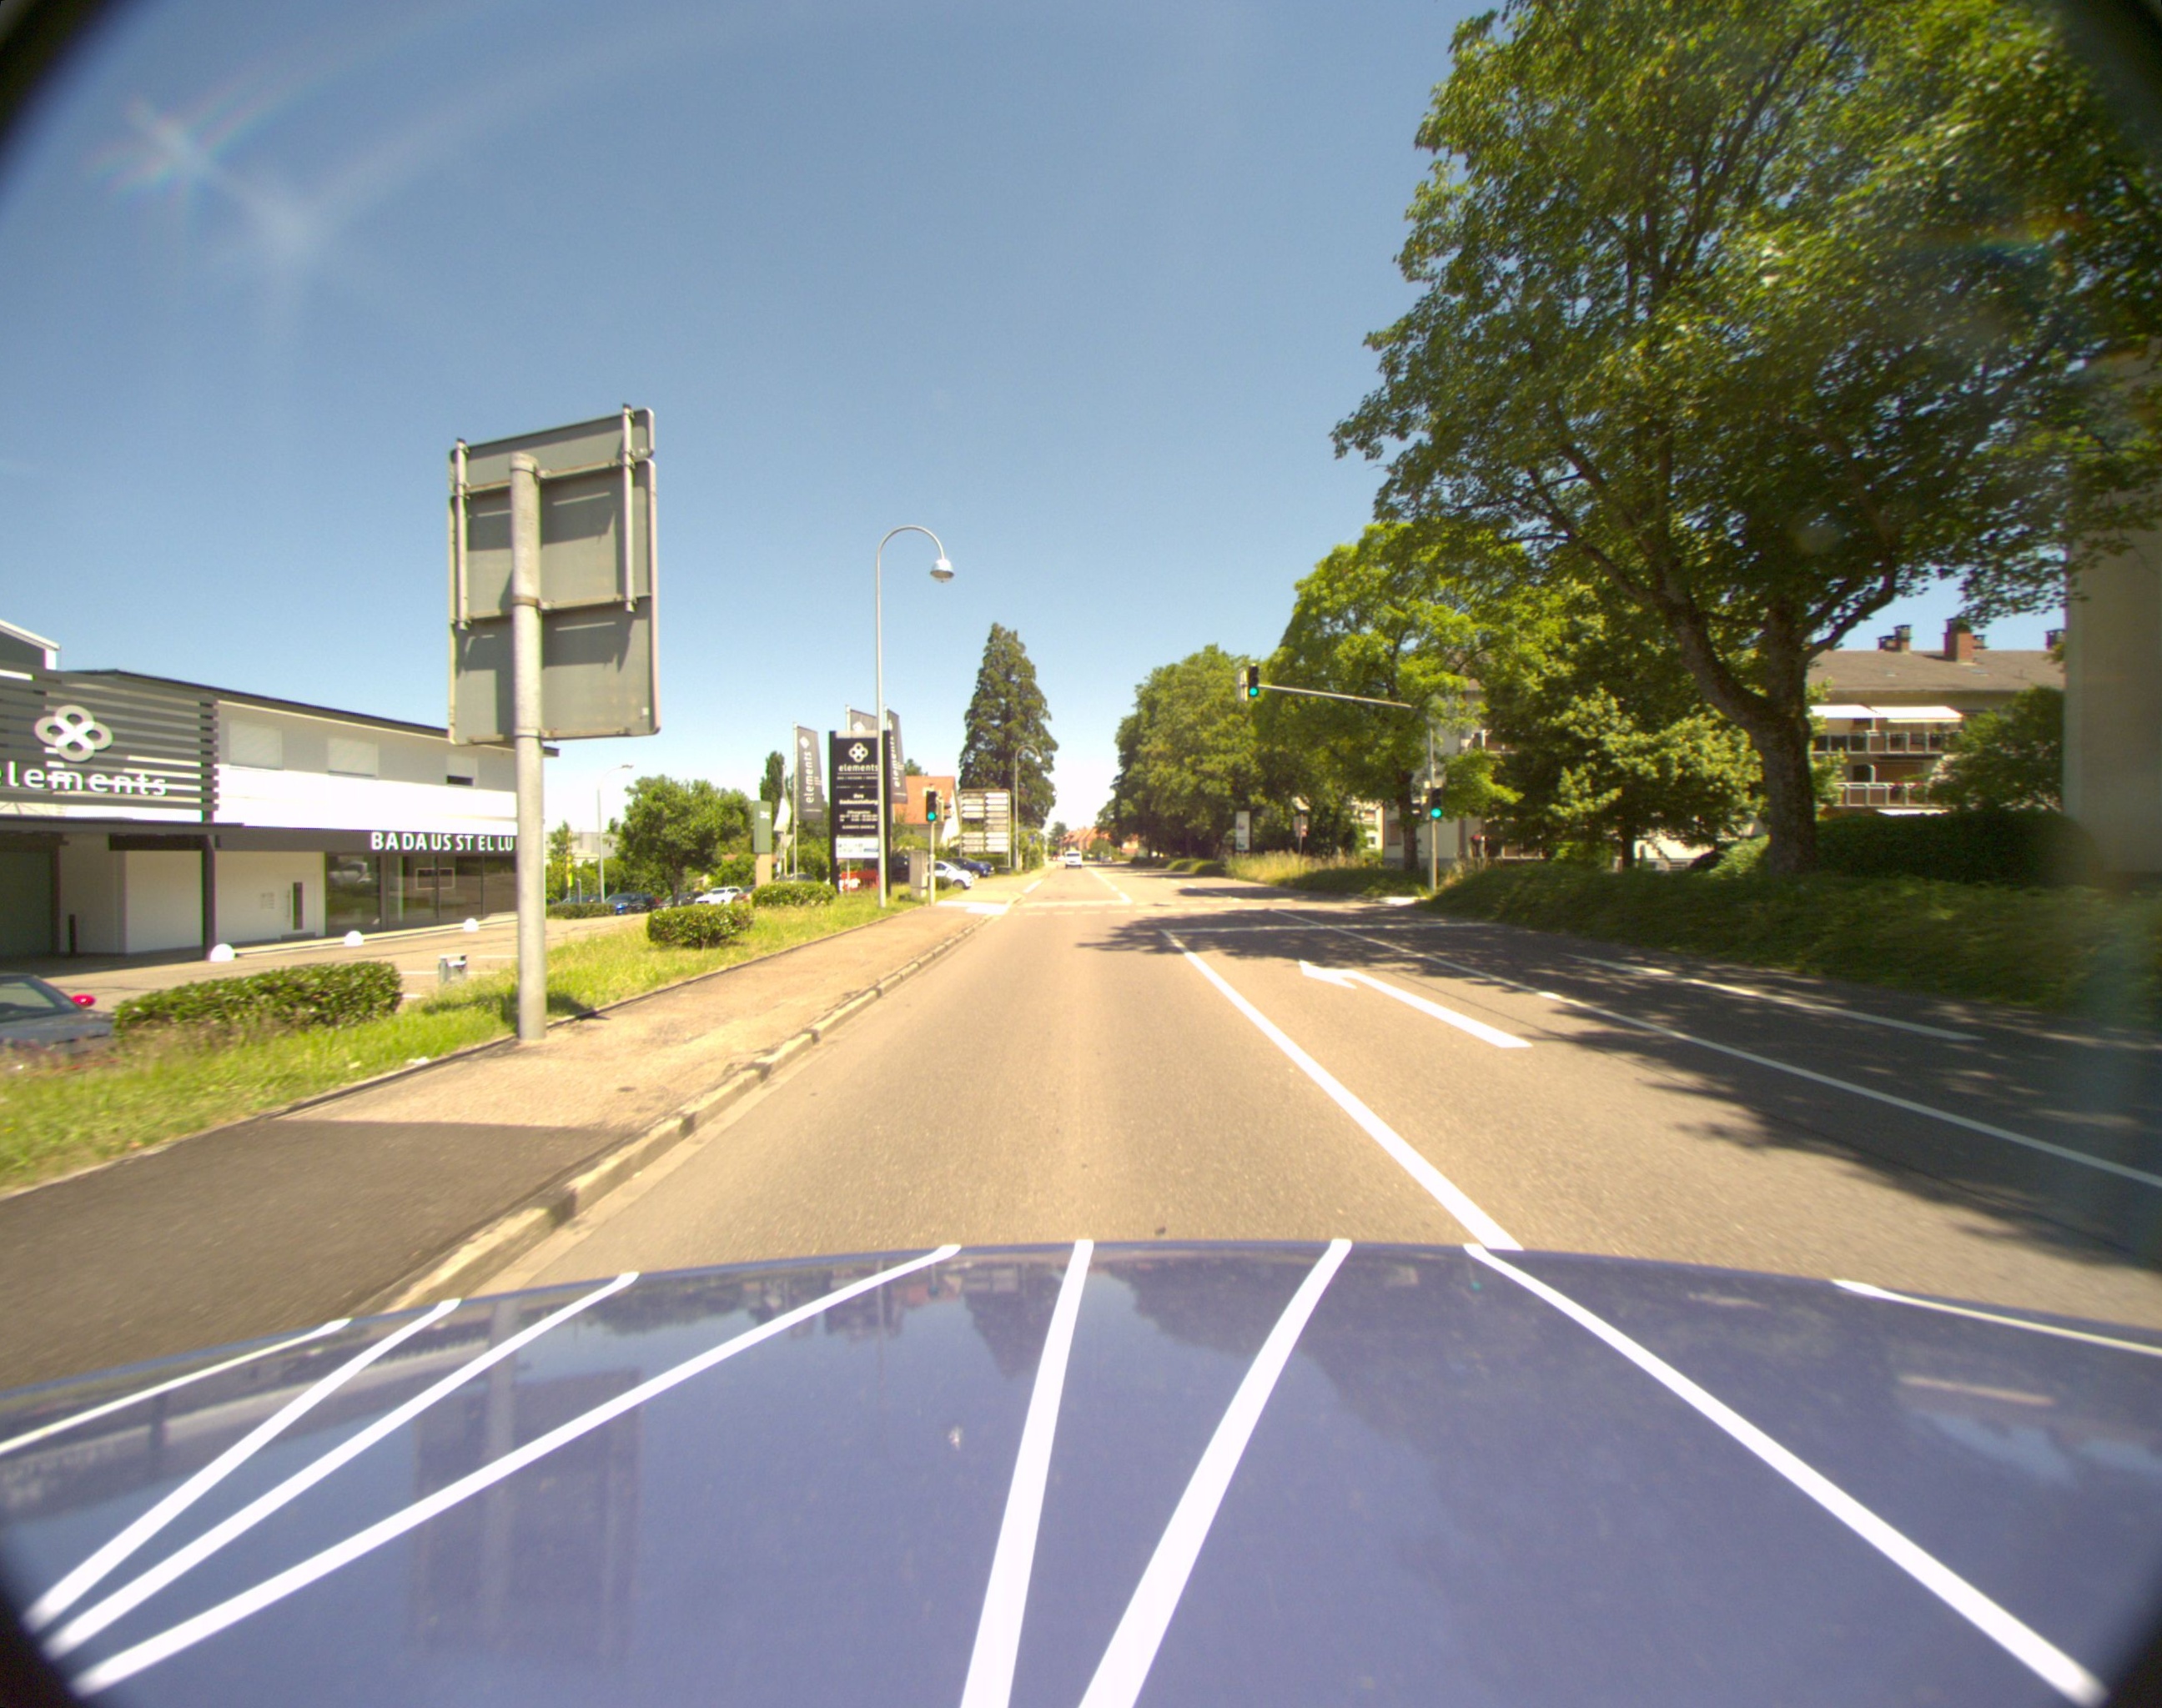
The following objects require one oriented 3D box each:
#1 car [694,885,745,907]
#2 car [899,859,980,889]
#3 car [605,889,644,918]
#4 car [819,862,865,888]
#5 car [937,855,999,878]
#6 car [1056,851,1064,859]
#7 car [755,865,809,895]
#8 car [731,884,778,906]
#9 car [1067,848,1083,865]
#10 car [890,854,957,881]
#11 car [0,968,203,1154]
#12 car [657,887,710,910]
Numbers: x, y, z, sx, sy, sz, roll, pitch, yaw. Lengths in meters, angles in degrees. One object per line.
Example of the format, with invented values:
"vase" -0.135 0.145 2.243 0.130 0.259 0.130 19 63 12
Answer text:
"car" -26.482 3.055 55.785 1.835 1.426 3.699 -1 0 1
"car" -6.973 0.957 37.587 3.637 1.375 1.627 -1 1 3
"car" -28.146 3.028 46.765 1.870 1.499 3.990 -3 1 -33
"car" -16.775 1.428 53.592 1.697 1.635 3.700 -2 1 6
"car" -7.258 0.812 48.995 3.637 1.375 1.627 -1 1 3
"car" -5.613 0.222 200.461 1.862 2.002 4.001 0 0 3
"car" -18.019 1.536 45.955 1.698 1.635 3.699 -2 1 1
"car" -23.706 2.957 55.329 1.776 1.426 3.699 -1 0 1
"car" -0.657 0.223 87.826 1.796 1.904 3.640 -1 1 0
"car" -9.542 0.826 46.190 3.637 1.542 1.627 -1 1 3
"car" -11.286 1.916 7.264 3.975 1.375 1.627 -1 1 3
"car" -29.024 3.245 55.608 1.776 1.426 3.700 -1 0 2
